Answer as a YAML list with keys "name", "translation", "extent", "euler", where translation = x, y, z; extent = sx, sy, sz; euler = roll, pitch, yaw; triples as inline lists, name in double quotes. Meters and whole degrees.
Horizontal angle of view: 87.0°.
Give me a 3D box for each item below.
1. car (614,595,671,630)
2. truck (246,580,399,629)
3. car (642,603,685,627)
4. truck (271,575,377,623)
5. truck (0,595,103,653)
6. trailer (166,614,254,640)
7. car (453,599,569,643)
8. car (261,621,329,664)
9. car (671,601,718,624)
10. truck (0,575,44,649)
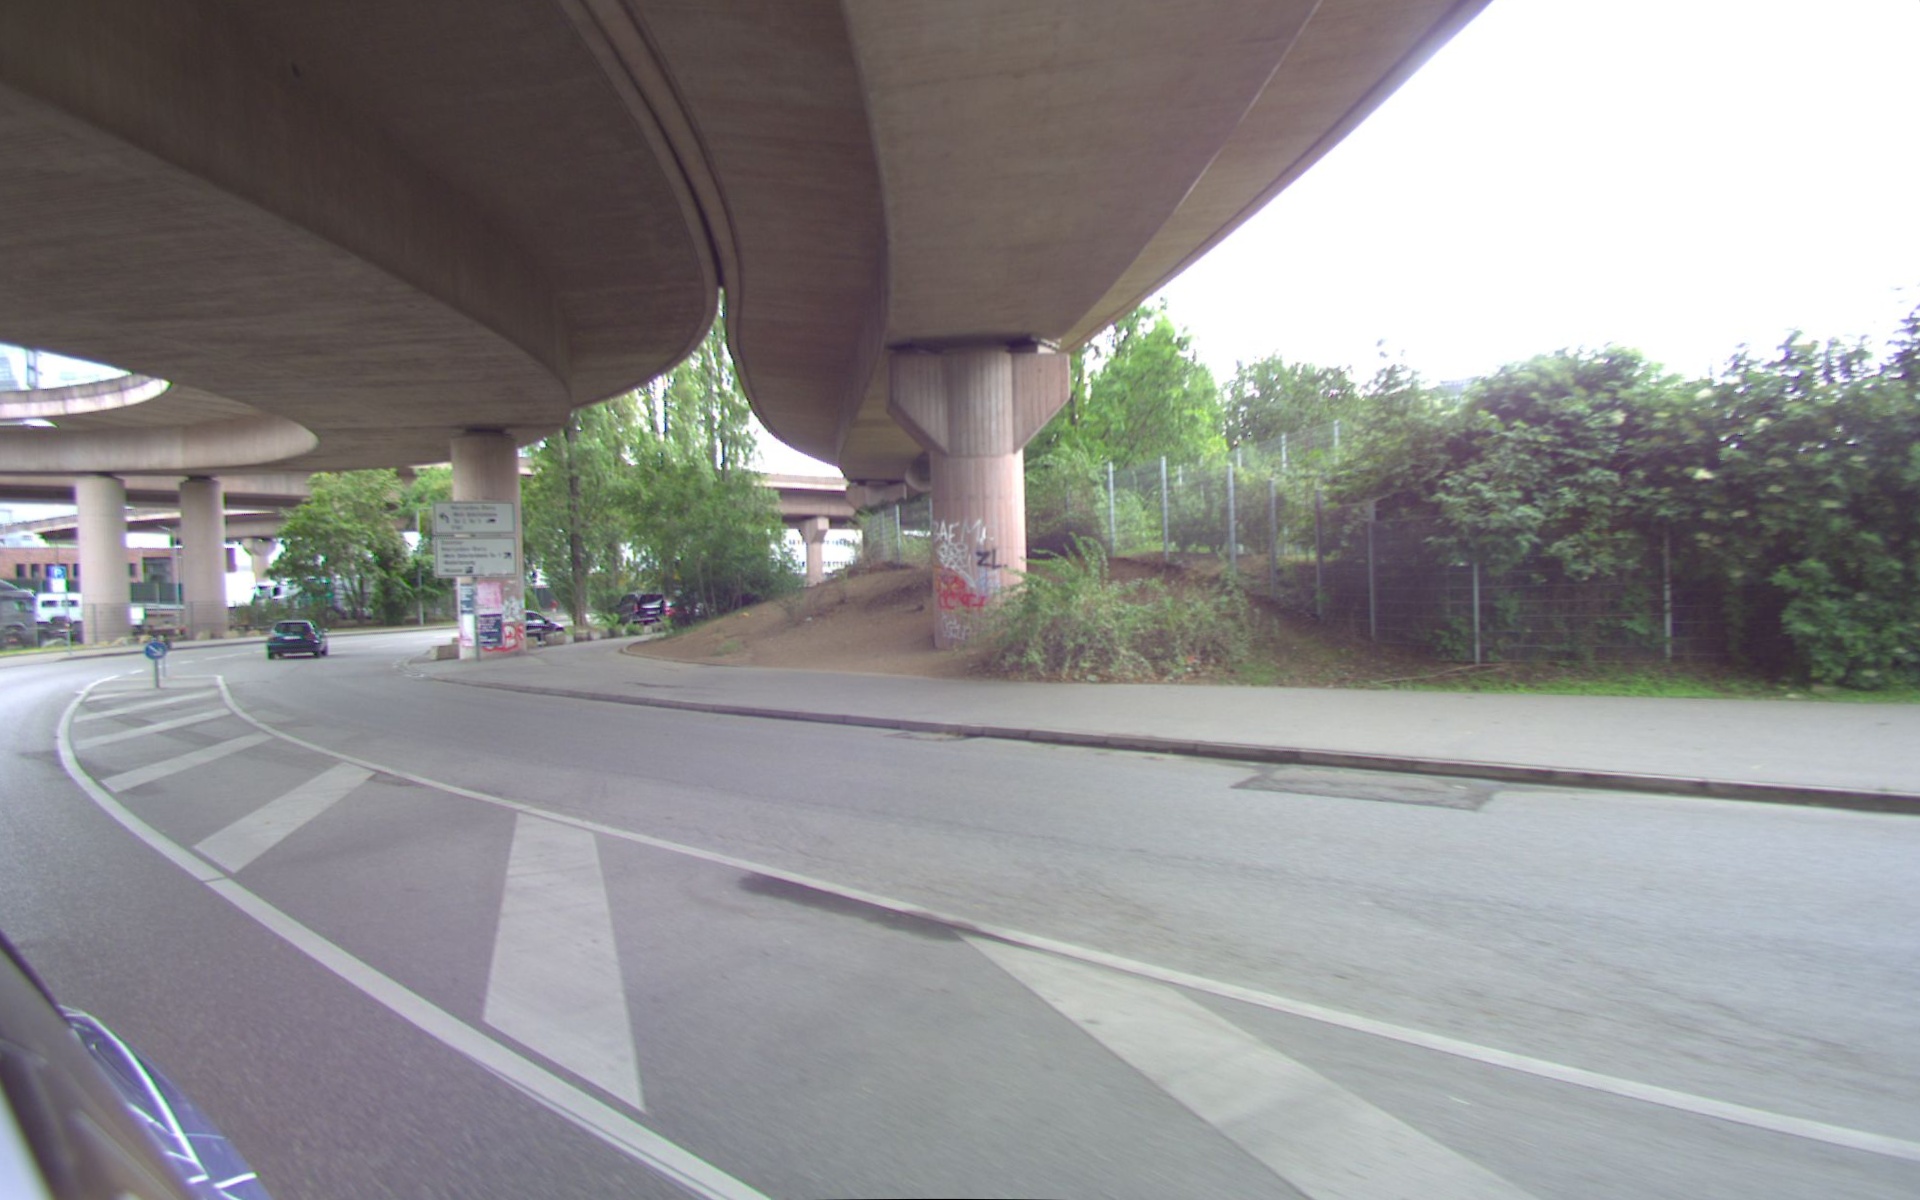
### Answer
- name: "car"
  translation: [-18.603, 0.690, 59.131]
  extent: [1.826, 1.931, 4.987]
  euler: [-2, 1, -33]
- name: "truck"
  translation: [-49.580, 0.232, 79.141]
  extent: [2.265, 3.524, 10.098]
  euler: [0, 1, 34]
- name: "car"
  translation: [-18.481, 0.932, 63.082]
  extent: [1.539, 1.390, 3.715]
  euler: [-2, 1, -33]
- name: "truck"
  translation: [-47.830, -0.160, 76.249]
  extent: [2.267, 3.434, 6.333]
  euler: [0, 1, 37]
- name: "truck"
  translation: [-47.301, 1.193, 51.610]
  extent: [2.384, 2.764, 7.255]
  euler: [-2, 0, -13]
- name: "trailer"
  translation: [-44.649, 1.610, 60.362]
  extent: [1.587, 1.341, 4.372]
  euler: [-1, 1, 7]
- name: "car"
  translation: [-17.416, 0.772, 39.521]
  extent: [1.808, 1.441, 4.761]
  euler: [-4, 0, 9]
- name: "car"
  translation: [-25.118, 1.560, 38.349]
  extent: [1.653, 1.441, 4.013]
  euler: [-2, 0, -27]
- name: "car"
  translation: [-17.462, 0.821, 66.427]
  extent: [1.667, 1.374, 4.530]
  euler: [-2, 1, -31]
- name: "truck"
  translation: [-60.520, 0.865, 58.906]
  extent: [3.903, 4.399, 10.021]
  euler: [-2, 0, 33]
